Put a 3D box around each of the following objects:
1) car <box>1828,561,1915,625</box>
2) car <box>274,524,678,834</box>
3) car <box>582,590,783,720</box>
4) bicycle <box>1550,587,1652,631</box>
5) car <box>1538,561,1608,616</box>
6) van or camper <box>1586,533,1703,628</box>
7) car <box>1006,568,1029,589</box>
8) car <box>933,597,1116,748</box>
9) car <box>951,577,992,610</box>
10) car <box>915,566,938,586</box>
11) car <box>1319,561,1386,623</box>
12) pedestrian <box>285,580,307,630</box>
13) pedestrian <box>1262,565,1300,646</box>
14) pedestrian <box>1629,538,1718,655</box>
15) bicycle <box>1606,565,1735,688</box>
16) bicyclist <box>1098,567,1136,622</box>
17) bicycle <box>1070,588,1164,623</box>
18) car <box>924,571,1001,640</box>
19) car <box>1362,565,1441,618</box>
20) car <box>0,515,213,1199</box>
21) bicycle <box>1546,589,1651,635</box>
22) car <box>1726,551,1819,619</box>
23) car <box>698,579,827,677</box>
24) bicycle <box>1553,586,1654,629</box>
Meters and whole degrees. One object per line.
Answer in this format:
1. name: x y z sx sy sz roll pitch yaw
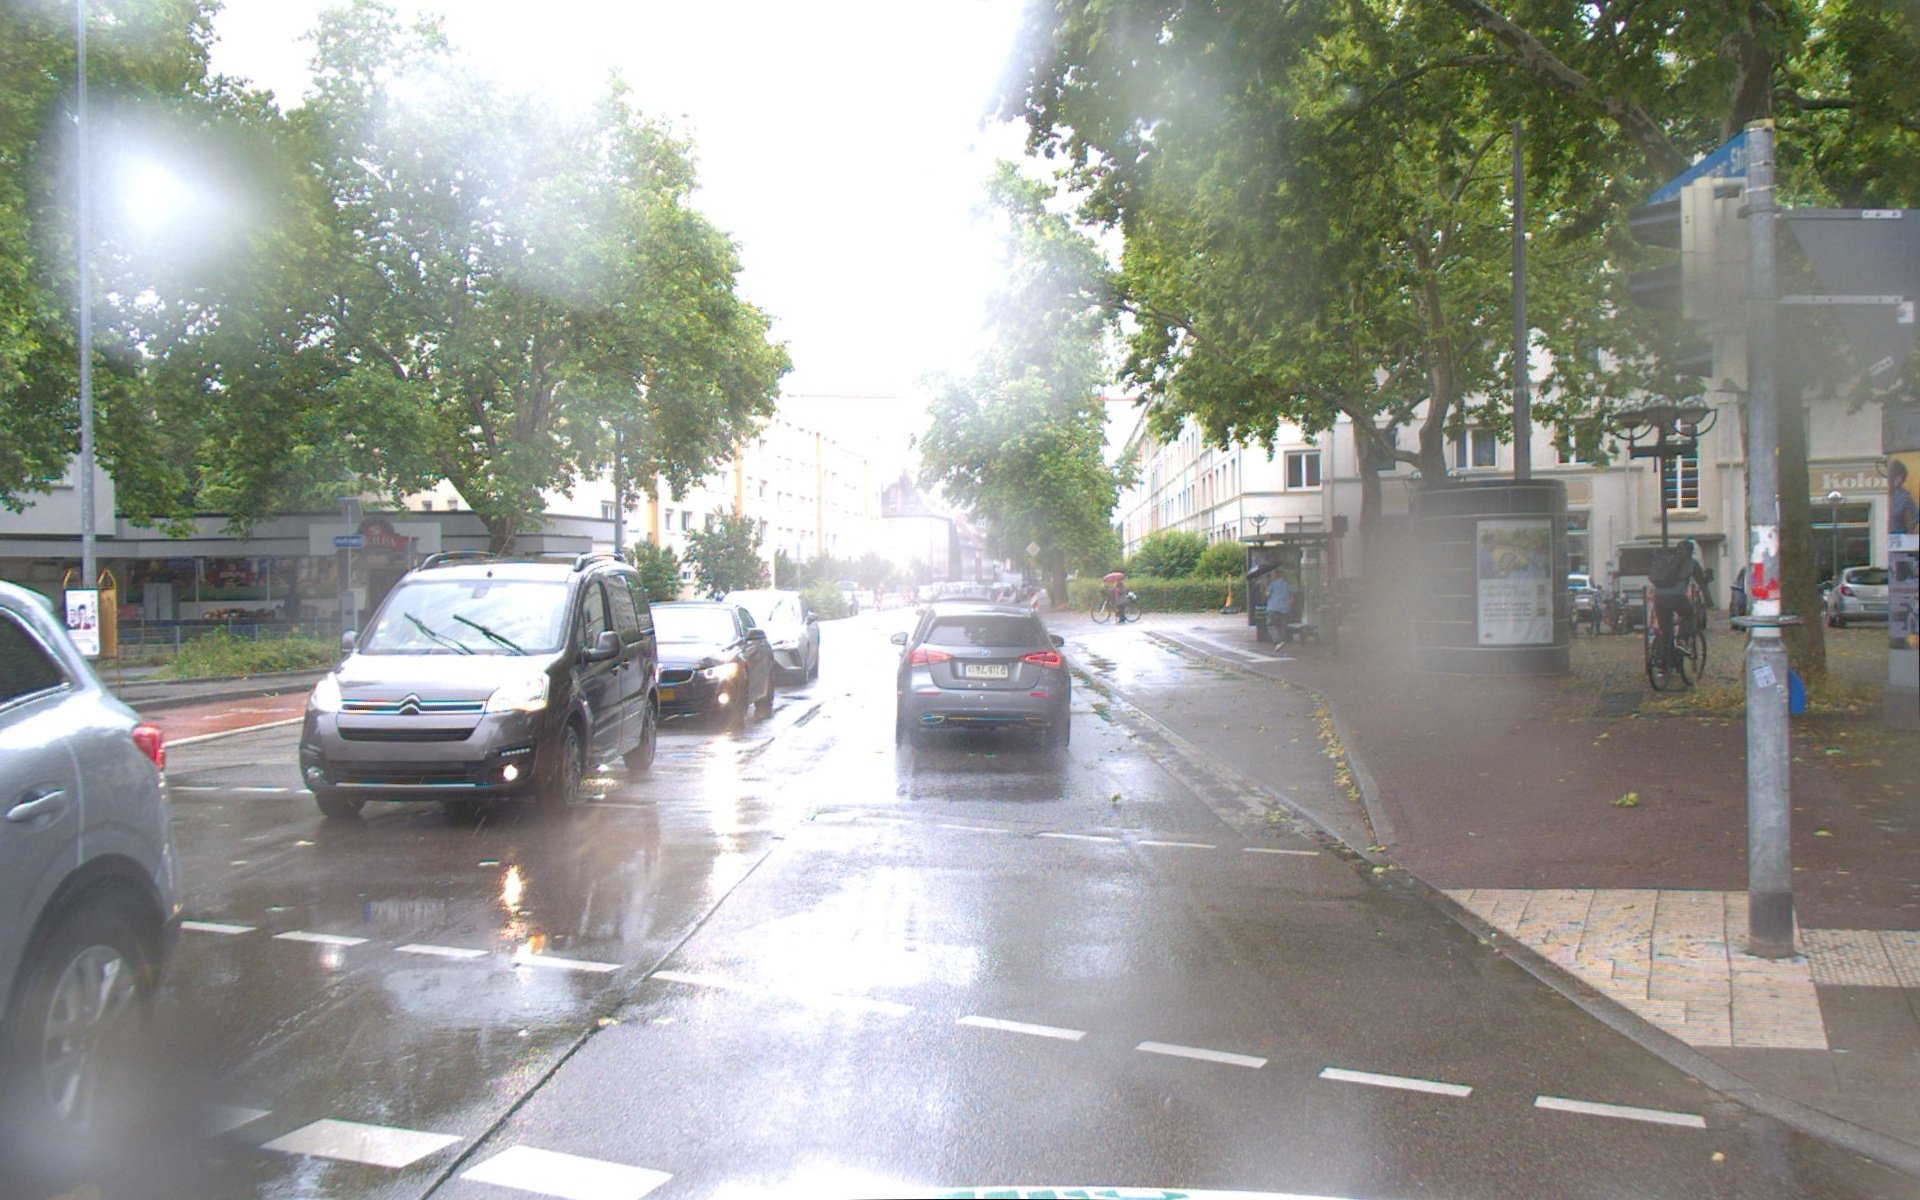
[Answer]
1. car: 22.643 -0.136 41.190 1.646 1.457 3.732 -1 -2 25
2. car: -3.374 0.464 12.383 1.770 1.894 4.109 -1 1 0
3. car: -3.255 0.594 20.178 1.707 1.414 4.362 0 0 0
4. bicycle: 15.062 0.211 38.868 2.206 0.985 0.534 -1 1 23
5. car: 19.891 -0.399 53.590 1.953 1.656 4.630 2 2 22
6. van or camper: 17.728 -0.507 42.685 2.350 2.270 5.424 -1 0 27
7. car: 5.328 -1.971 153.550 2.004 1.868 4.794 -1 0 3
8. car: 0.609 0.691 17.592 1.754 1.396 3.507 0 1 0
9. car: 0.554 -0.355 85.218 1.953 1.601 3.999 -1 0 -1
10. car: -3.224 -2.292 160.823 1.850 1.868 4.002 -1 0 3
11. car: 10.744 -0.187 45.127 1.652 1.578 3.525 -1 -2 15
12. pedestrian: -22.201 0.168 55.303 0.560 1.657 0.639 -1 0 -15
13. pedestrian: 6.839 0.114 35.265 0.701 1.698 0.665 -1 0 5
14. pedestrian: 9.001 -0.051 20.853 0.732 1.422 1.042 -2 1 40
15. bicycle: 8.972 0.294 20.808 0.737 1.401 2.694 -2 1 39
16. bicyclist: 5.572 -0.190 58.863 0.924 1.901 1.136 -1 0 -19
17. bicycle: 5.589 0.202 58.932 3.157 1.131 1.048 -2 0 -19
18. car: 0.042 0.077 36.897 1.574 1.396 4.000 -2 1 0
19. car: 14.753 -0.312 55.124 1.953 1.656 4.630 2 2 22
20. car: -3.015 0.657 2.729 1.707 1.632 4.000 -1 1 0
21. bicycle: 14.745 0.283 38.214 2.235 1.000 0.545 -1 1 23
22. car: 20.155 -0.362 41.124 1.644 1.602 3.737 -1 0 20
23. car: -3.317 0.421 28.458 1.808 1.536 4.054 -1 1 -1
24. bicycle: 15.372 0.186 39.517 2.201 0.985 0.585 -1 1 23
